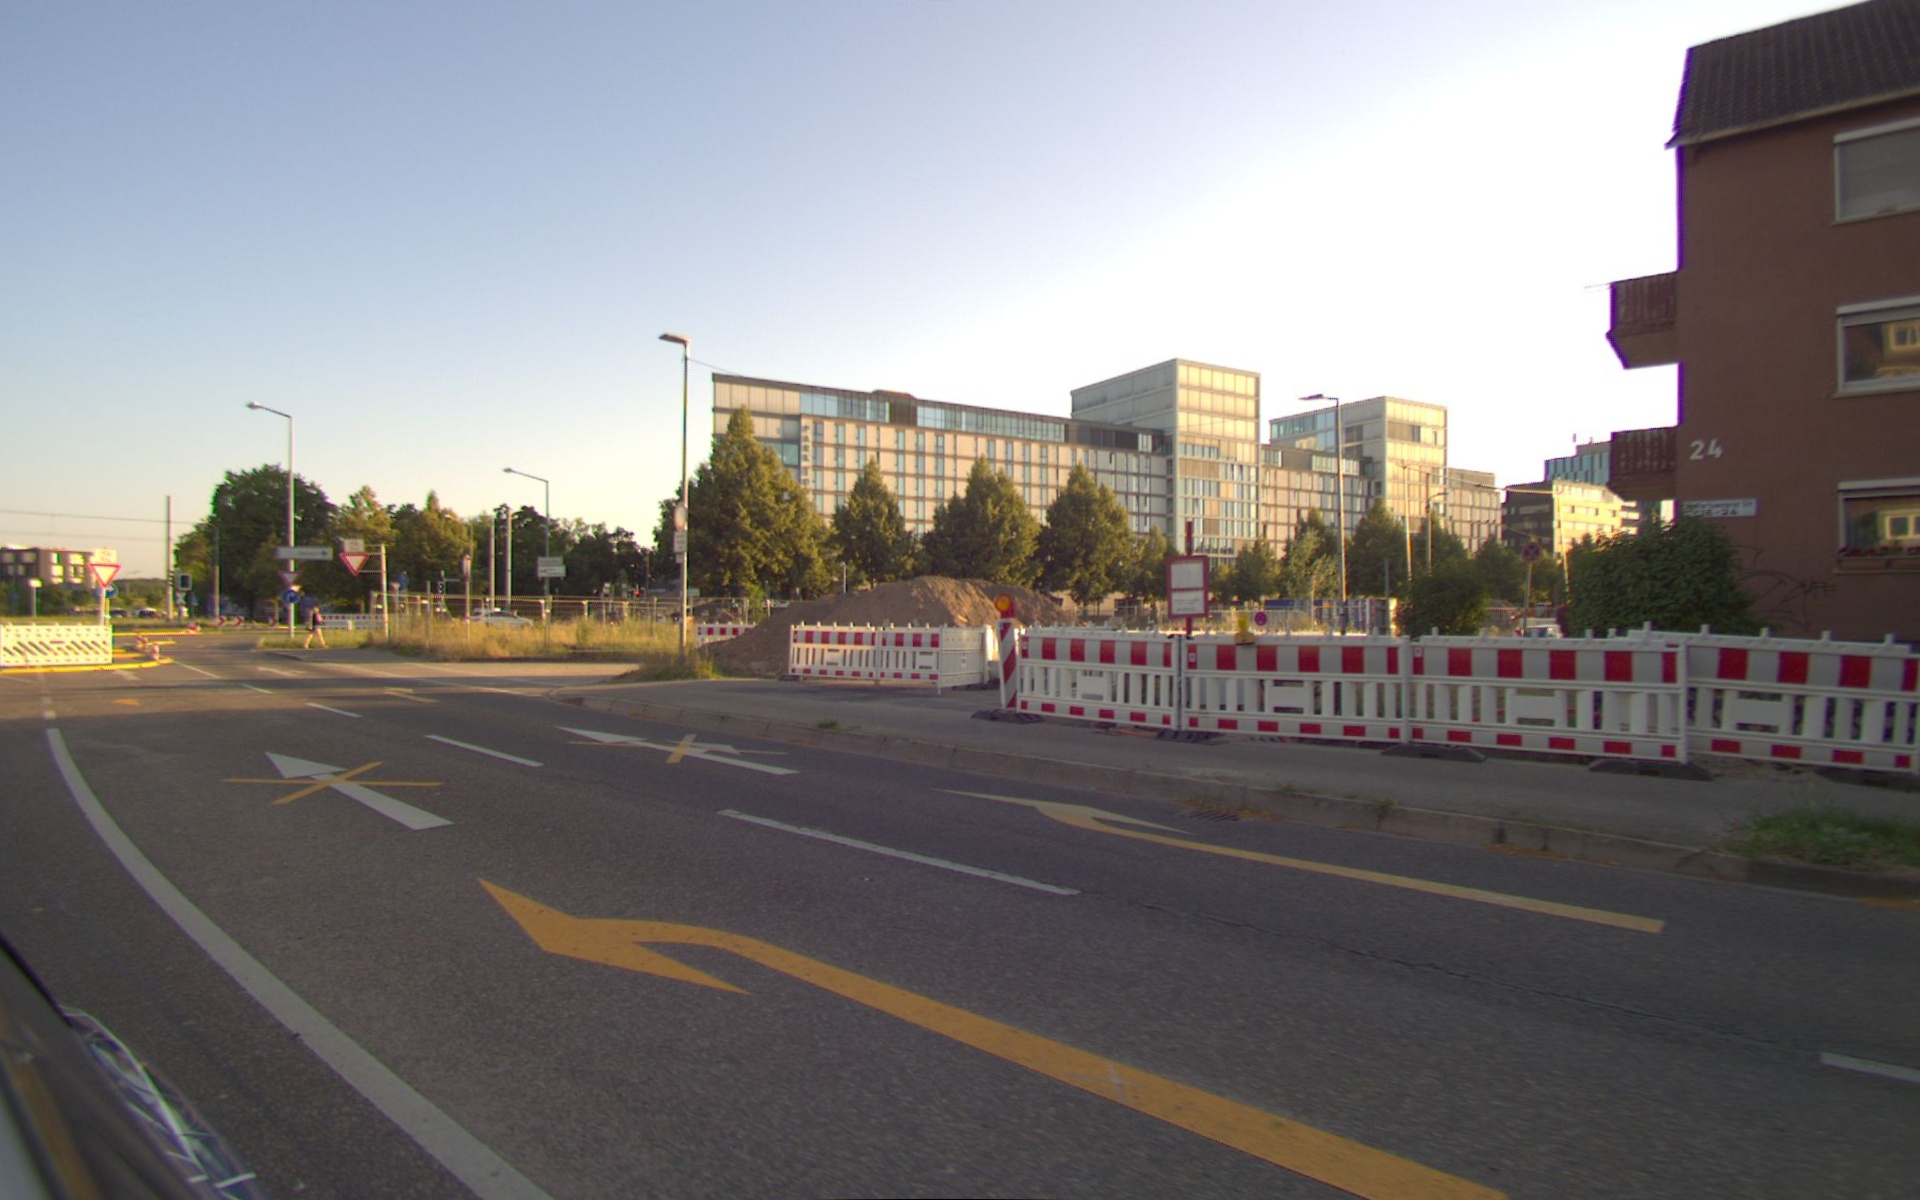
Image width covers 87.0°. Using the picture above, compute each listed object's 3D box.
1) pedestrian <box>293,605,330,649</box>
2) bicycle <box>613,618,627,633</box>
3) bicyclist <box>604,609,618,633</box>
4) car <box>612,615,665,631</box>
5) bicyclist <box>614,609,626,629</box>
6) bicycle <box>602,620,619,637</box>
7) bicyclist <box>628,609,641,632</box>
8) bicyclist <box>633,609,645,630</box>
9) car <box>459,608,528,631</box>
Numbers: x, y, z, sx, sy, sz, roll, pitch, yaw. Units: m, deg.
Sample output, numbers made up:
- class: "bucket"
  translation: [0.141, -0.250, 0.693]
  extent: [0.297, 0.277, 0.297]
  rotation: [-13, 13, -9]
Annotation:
- class: "pedestrian"
  translation: [-25.727, 1.071, 40.134]
  extent: [0.784, 1.708, 0.918]
  rotation: [0, -2, 28]
- class: "bicycle"
  translation: [-25.384, 1.922, 75.547]
  extent: [0.689, 1.052, 2.086]
  rotation: [1, -1, -27]
- class: "bicyclist"
  translation: [-22.485, 1.336, 65.108]
  extent: [0.689, 1.502, 0.977]
  rotation: [1, -1, -27]
- class: "car"
  translation: [-30.810, 2.170, 96.903]
  extent: [4.515, 1.432, 1.827]
  rotation: [2, -1, -33]
- class: "bicyclist"
  translation: [-25.391, 1.425, 75.601]
  extent: [0.689, 1.502, 0.977]
  rotation: [1, -1, -27]
- class: "bicycle"
  translation: [-22.471, 1.833, 65.066]
  extent: [0.689, 1.052, 2.086]
  rotation: [1, -1, -27]
- class: "bicyclist"
  translation: [-21.911, 1.387, 68.162]
  extent: [0.689, 1.502, 0.977]
  rotation: [1, -1, -23]
- class: "bicyclist"
  translation: [-23.114, 1.382, 72.850]
  extent: [0.689, 1.502, 0.977]
  rotation: [1, -1, -23]
- class: "car"
  translation: [-31.158, 1.290, 67.662]
  extent: [1.627, 1.475, 3.954]
  rotation: [0, -1, 34]
